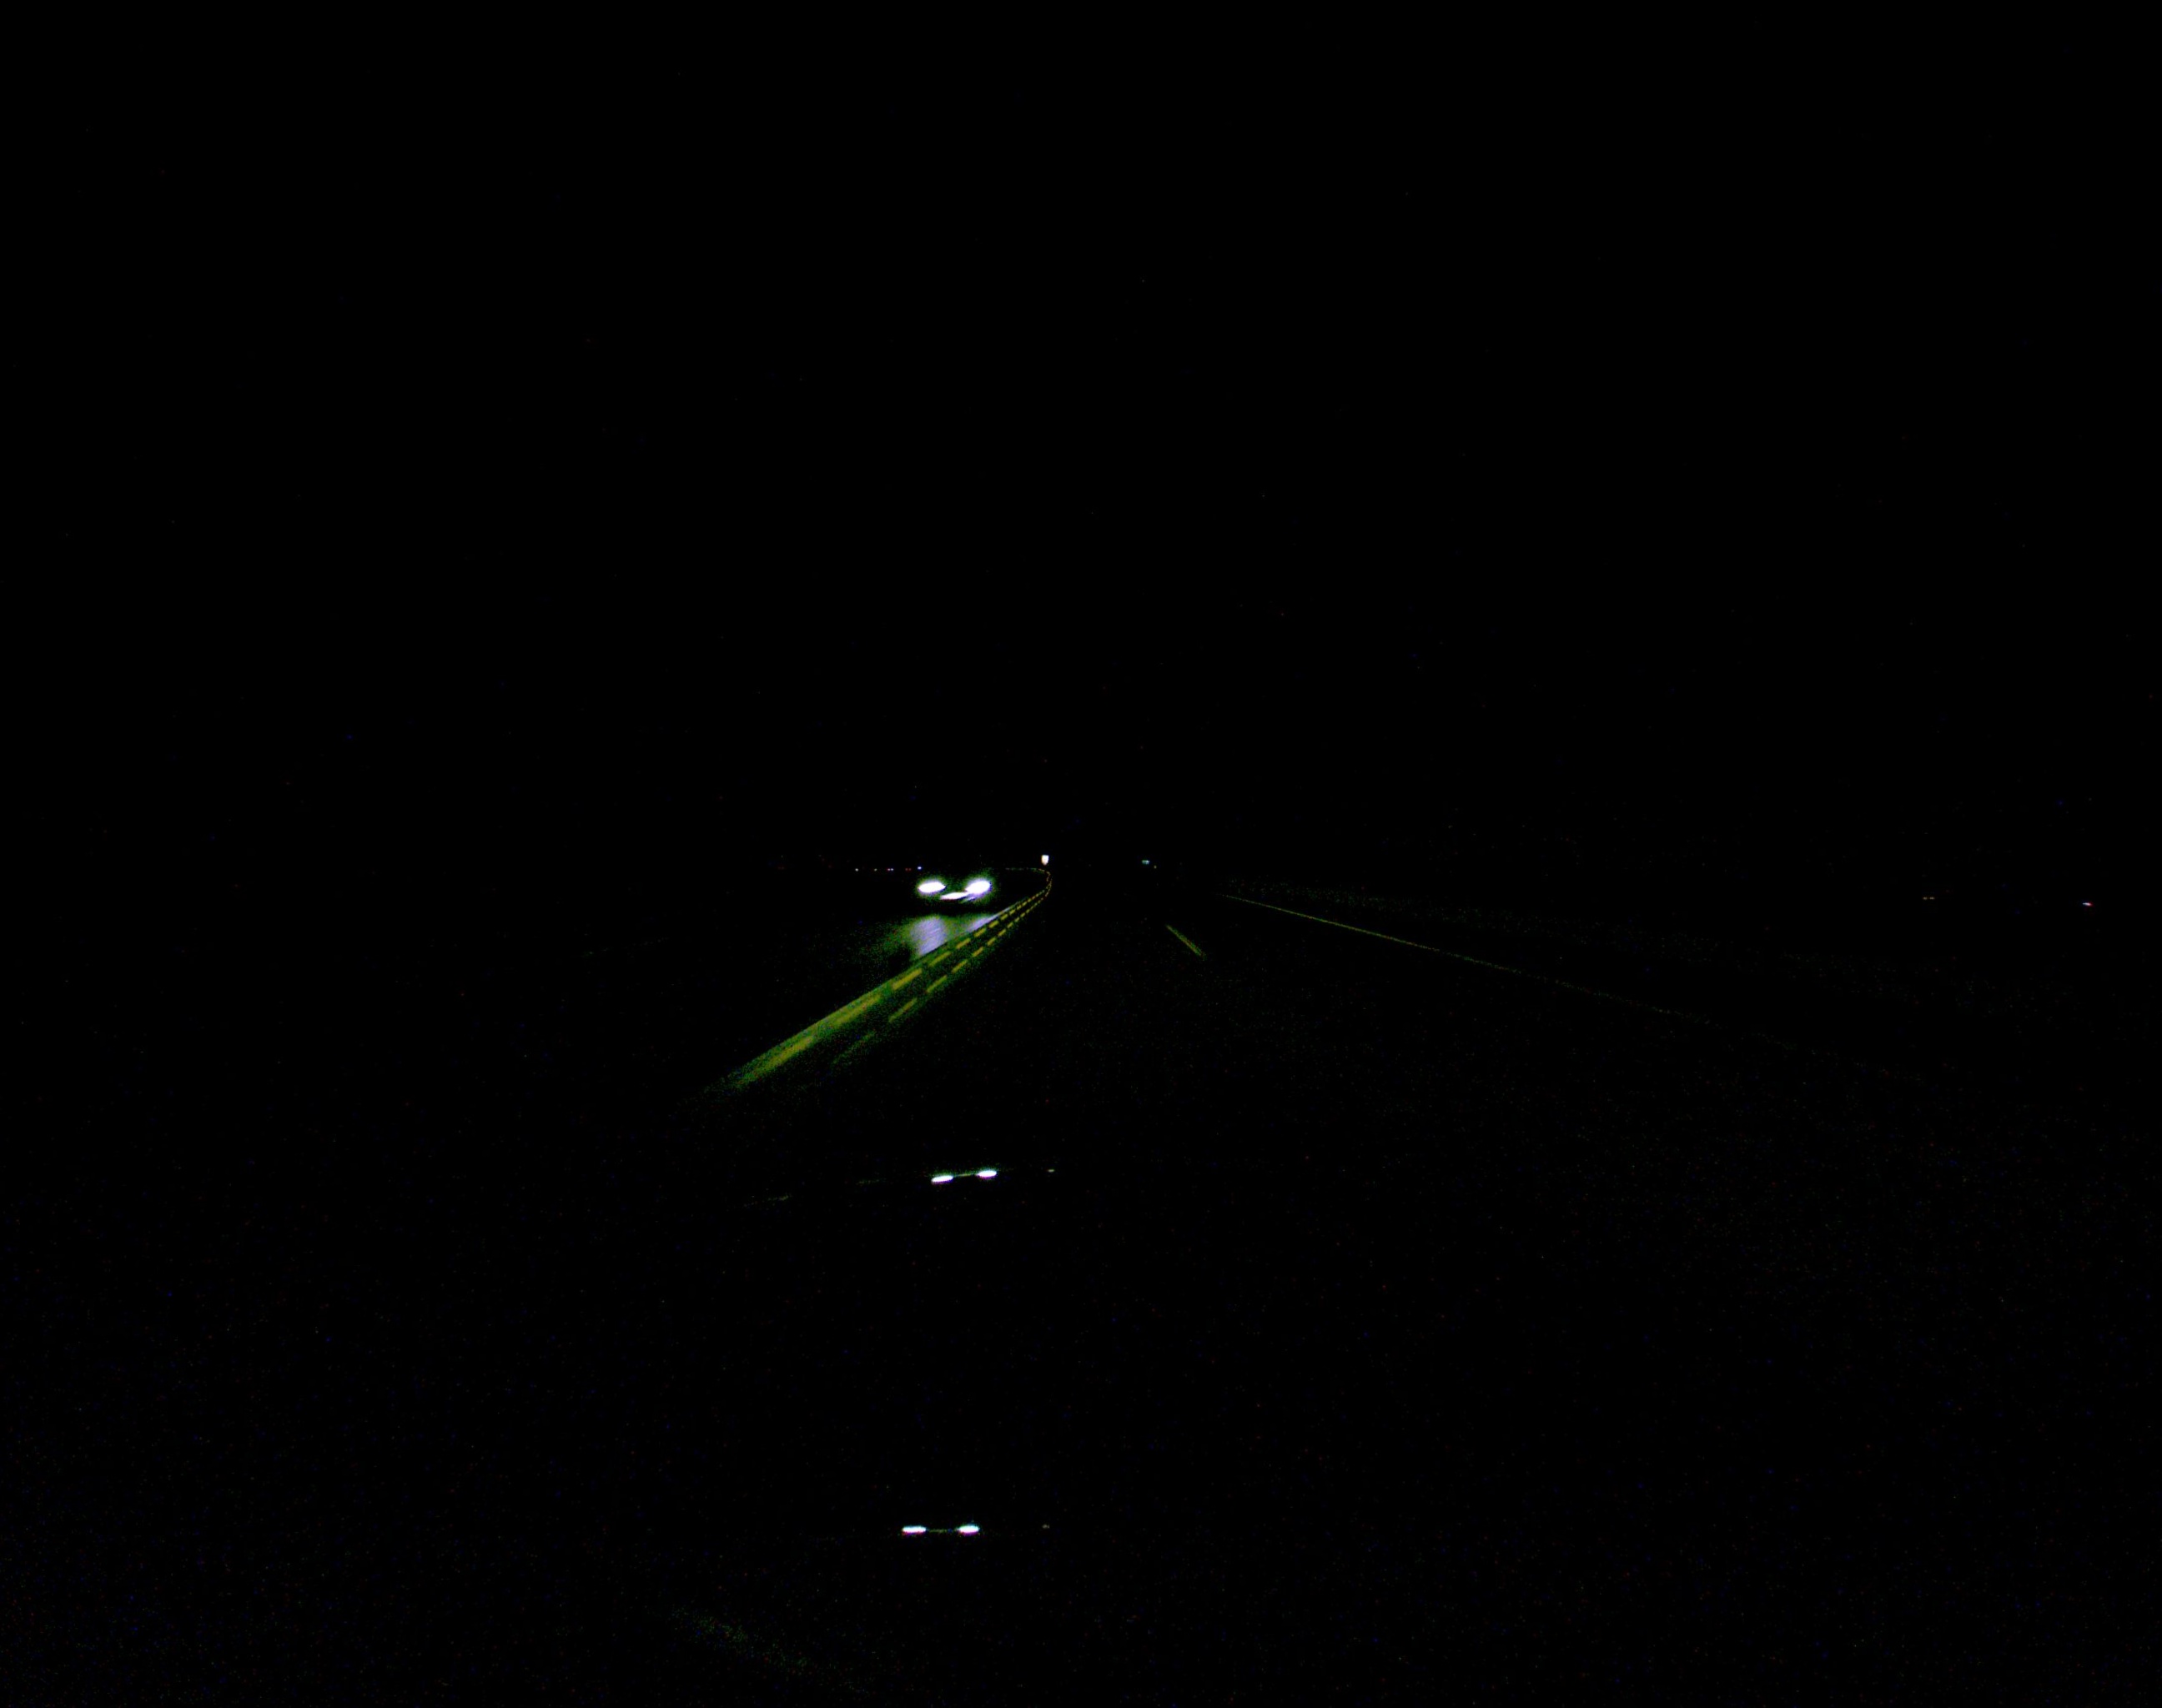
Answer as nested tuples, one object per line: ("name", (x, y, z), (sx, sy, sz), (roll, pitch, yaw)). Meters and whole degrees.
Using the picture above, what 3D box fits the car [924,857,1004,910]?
("car", (-3.704, 0.922, 26.575), (1.812, 1.516, 4.524), (-2, -1, 2))
